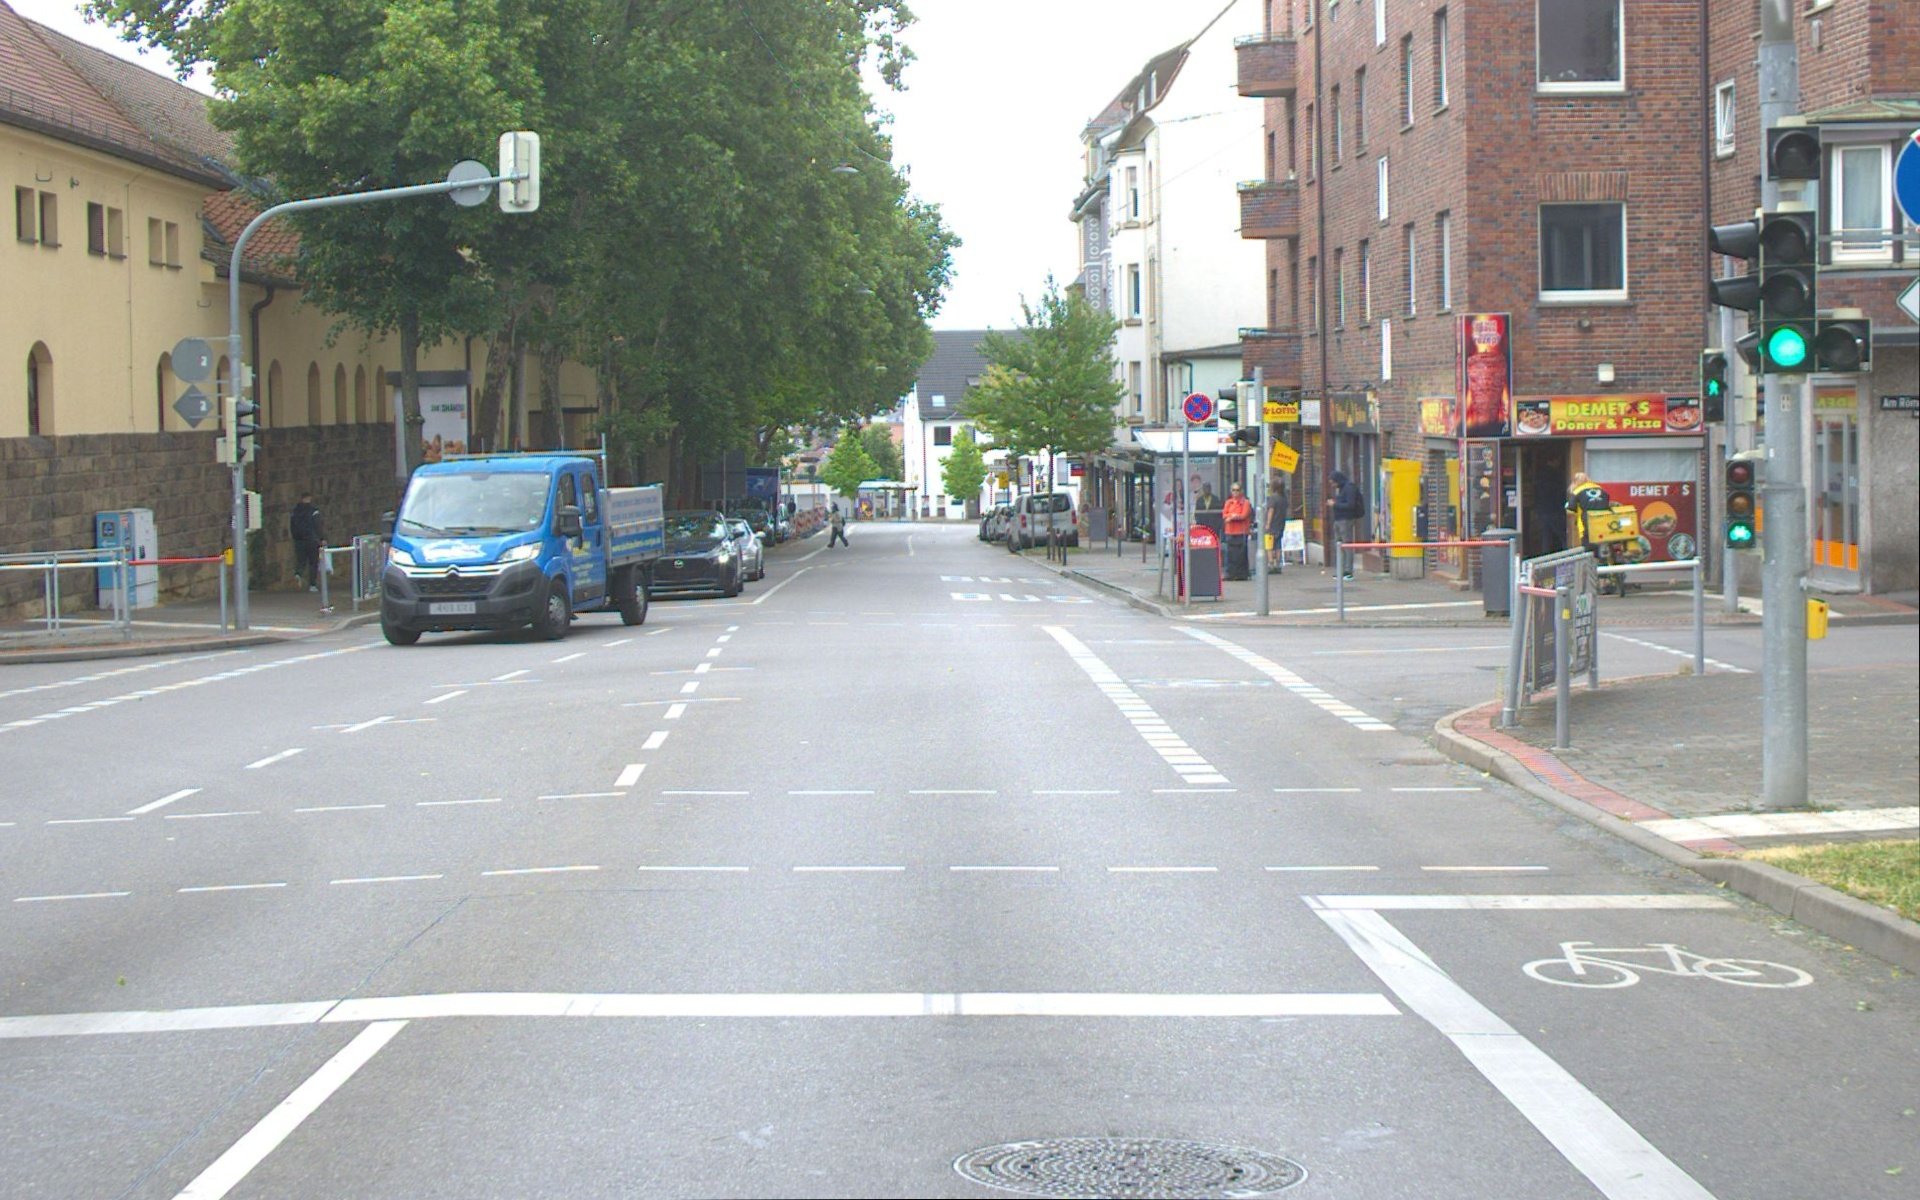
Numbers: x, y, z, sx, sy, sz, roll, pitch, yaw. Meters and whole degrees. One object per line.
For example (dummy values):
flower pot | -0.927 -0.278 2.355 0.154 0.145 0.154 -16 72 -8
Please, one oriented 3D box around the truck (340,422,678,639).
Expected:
truck | -5.430 -0.902 42.490 2.296 2.419 6.409 -2 2 10

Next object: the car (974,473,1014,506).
car | 1.627 -5.299 165.058 1.668 1.542 3.757 -1 2 -4

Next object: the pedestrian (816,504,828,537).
pedestrian | -8.455 -4.884 210.703 0.633 2.006 0.784 0 2 1

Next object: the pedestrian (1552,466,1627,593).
pedestrian | 8.441 -0.943 46.092 0.788 1.650 0.772 -3 2 0

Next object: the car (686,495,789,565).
car | -4.470 -1.412 69.517 1.685 1.271 4.095 -3 1 1

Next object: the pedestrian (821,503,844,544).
pedestrian | -4.810 -2.897 129.704 0.672 1.531 0.611 -1 2 -28

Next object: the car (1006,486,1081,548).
car | 2.670 -2.704 111.364 1.993 1.929 4.920 -1 2 -4

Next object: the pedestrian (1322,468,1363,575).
pedestrian | 6.275 -1.285 56.420 0.647 1.744 0.778 0 2 5

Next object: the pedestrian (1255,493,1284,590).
pedestrian | 5.686 -1.075 63.148 0.479 1.759 0.458 -1 1 -1

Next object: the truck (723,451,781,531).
truck | -8.889 -4.669 147.629 2.230 3.335 7.451 0 2 -2

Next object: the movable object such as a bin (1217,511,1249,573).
movable object such as a bin | 4.675 -1.001 58.888 0.453 1.053 0.410 0 1 19

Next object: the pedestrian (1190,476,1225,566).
pedestrian | 4.805 -1.540 66.735 0.670 1.721 0.763 0 2 5

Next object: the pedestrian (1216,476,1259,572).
pedestrian | 4.768 -1.307 59.080 0.565 1.631 0.680 0 2 19

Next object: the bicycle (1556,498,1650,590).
bicycle | 8.565 -0.763 45.875 0.760 1.189 2.392 0 2 -1

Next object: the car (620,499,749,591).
car | -4.519 -0.938 56.879 1.703 1.409 4.192 -2 2 1

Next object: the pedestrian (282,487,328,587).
pedestrian | -11.620 -1.116 60.993 0.674 1.759 0.725 -1 1 -1

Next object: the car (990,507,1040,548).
car | 2.131 -2.857 134.973 1.668 1.542 3.757 -1 2 -4
